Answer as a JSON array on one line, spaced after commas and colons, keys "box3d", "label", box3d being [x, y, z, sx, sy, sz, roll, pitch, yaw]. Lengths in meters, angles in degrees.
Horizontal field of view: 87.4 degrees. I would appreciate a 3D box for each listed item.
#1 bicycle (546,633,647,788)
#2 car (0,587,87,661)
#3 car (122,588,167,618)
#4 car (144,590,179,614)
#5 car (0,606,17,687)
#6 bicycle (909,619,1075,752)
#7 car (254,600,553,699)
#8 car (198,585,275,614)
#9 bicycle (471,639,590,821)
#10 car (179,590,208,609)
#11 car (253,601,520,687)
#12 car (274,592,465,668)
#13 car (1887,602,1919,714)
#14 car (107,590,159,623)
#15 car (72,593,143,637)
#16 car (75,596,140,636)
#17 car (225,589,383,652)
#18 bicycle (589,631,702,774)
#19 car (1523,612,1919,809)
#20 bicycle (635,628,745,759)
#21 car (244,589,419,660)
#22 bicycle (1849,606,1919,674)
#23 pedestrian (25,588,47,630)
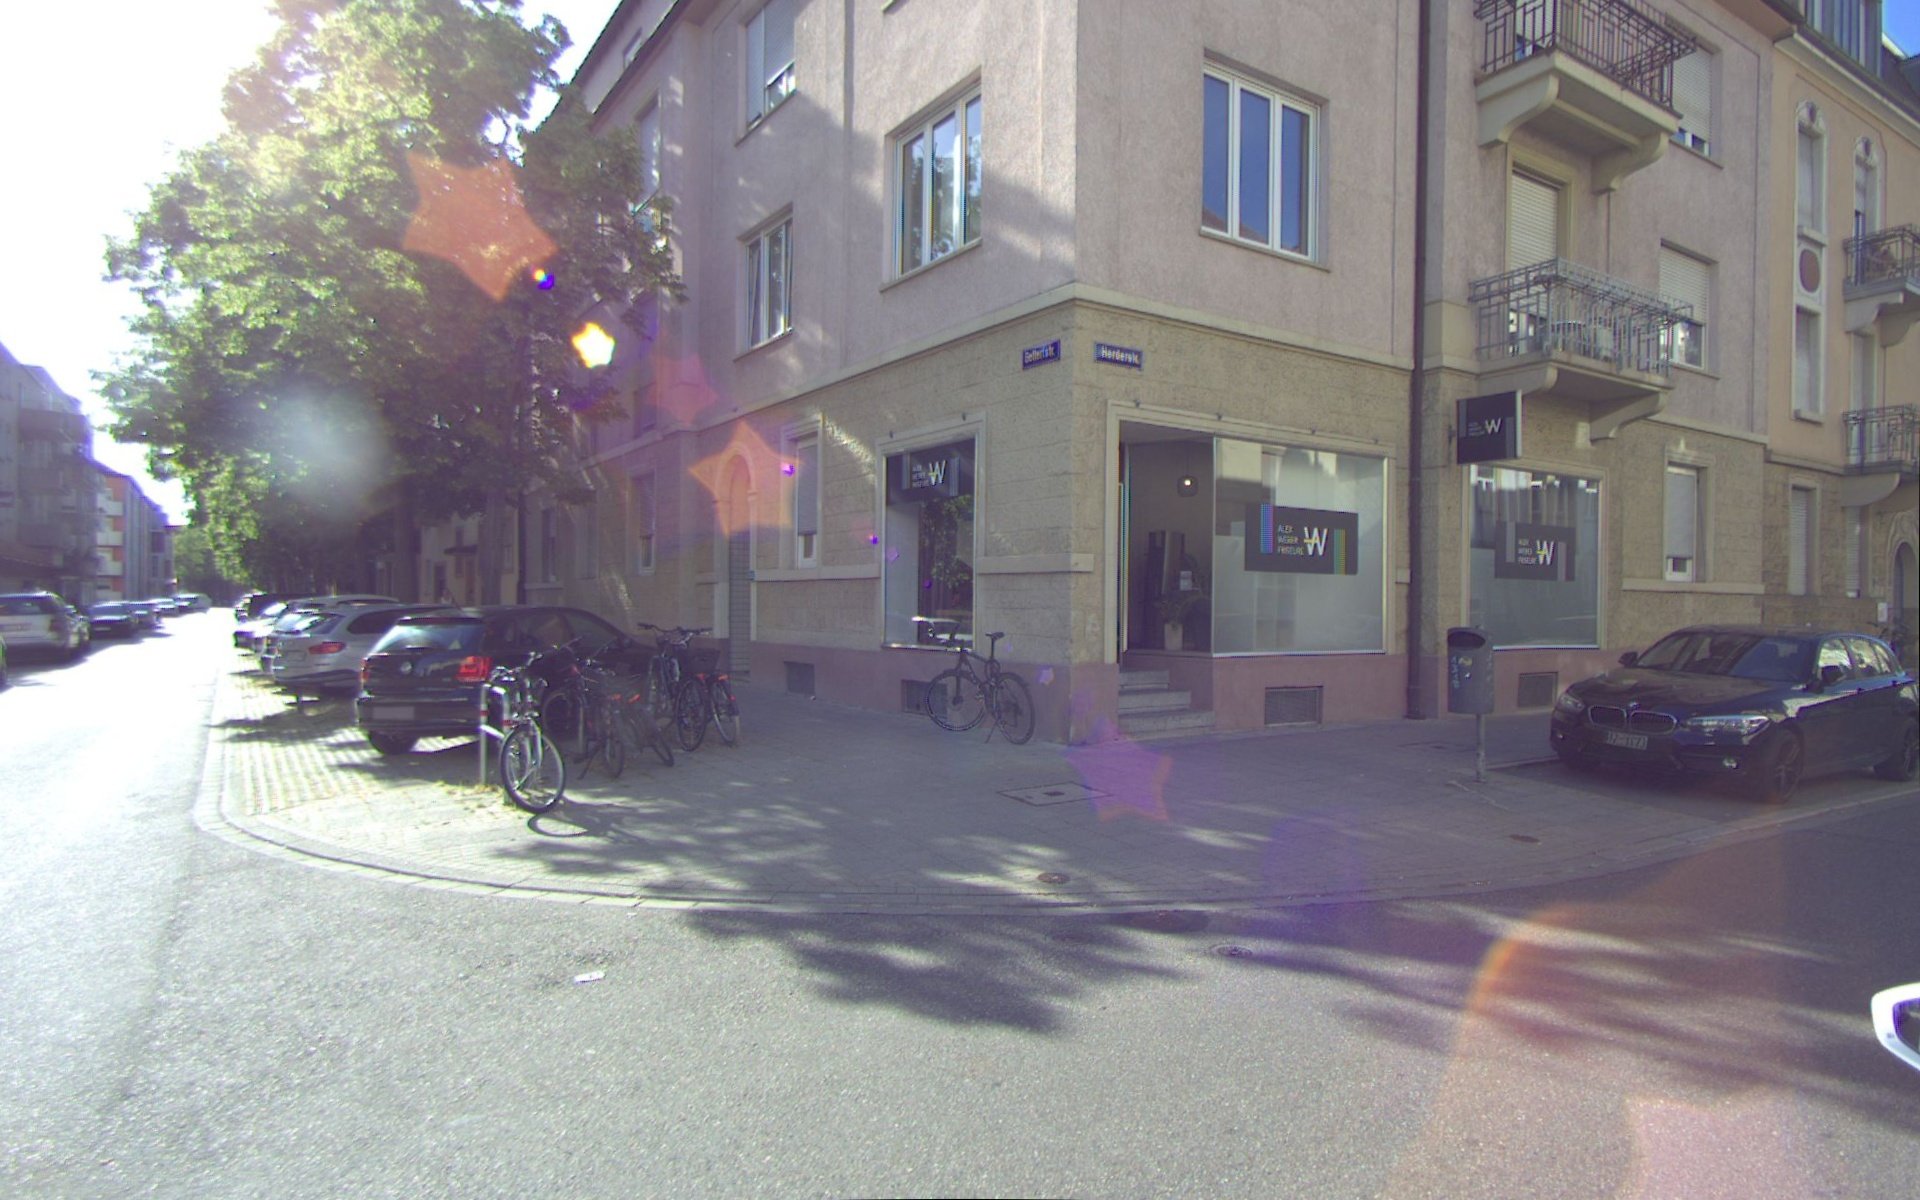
[{"box3d": [-3.266, 0.911, 8.940, 0.520, 1.151, 1.889, -2, 1, -29], "label": "bicycle"}, {"box3d": [-24.533, 0.581, 26.425, 2.090, 1.790, 4.462, -1, 1, -38], "label": "car"}, {"box3d": [-52.235, 0.172, 64.376, 2.090, 1.790, 4.462, -1, 1, -38], "label": "car"}, {"box3d": [-63.242, 0.142, 79.583, 2.090, 1.790, 4.462, -1, 1, -38], "label": "car"}, {"box3d": [-17.987, 0.846, 17.603, 1.711, 1.423, 4.166, -1, 1, -38], "label": "car"}, {"box3d": [0.284, 0.814, 10.269, 0.642, 1.151, 1.884, -2, 2, -38], "label": "bicycle"}, {"box3d": [-9.243, 0.736, 17.061, 1.674, 1.458, 4.206, 0, 0, 30], "label": "car"}, {"box3d": [-44.620, -0.058, 61.991, 1.680, 1.690, 3.589, 1, 2, 42], "label": "car"}, {"box3d": [-3.420, 0.935, 7.905, 0.640, 1.151, 1.889, -2, 2, -29], "label": "bicycle"}, {"box3d": [-71.025, -0.053, 93.091, 2.090, 1.790, 4.462, -1, 1, -38], "label": "car"}, {"box3d": [-10.819, 0.746, 19.274, 1.674, 1.445, 4.206, 0, 0, 30], "label": "car"}, {"box3d": [-14.069, 0.647, 24.060, 1.680, 1.630, 3.589, 1, 2, 42], "label": "car"}, {"box3d": [16.052, 0.898, 15.097, 4.438, 1.603, 1.992, 1, 2, -32], "label": "car"}, {"box3d": [-46.301, 0.345, 56.313, 2.090, 1.790, 4.462, -1, 1, -38], "label": "car"}, {"box3d": [-36.458, 0.591, 43.067, 2.090, 1.790, 4.462, -1, 1, -38], "label": "car"}, {"box3d": [-40.220, 0.714, 47.481, 2.090, 1.790, 4.462, -1, 1, -38], "label": "car"}, {"box3d": [-19.367, 0.553, 29.757, 1.680, 1.690, 3.589, 1, 2, 42], "label": "car"}, {"box3d": [-3.029, 0.907, 9.551, 0.520, 1.151, 1.887, -2, 1, -33], "label": "bicycle"}, {"box3d": [7.440, 0.900, 9.557, 4.223, 1.446, 1.671, 1, 2, -30], "label": "car"}, {"box3d": [-2.815, 0.901, 10.347, 0.520, 1.151, 1.887, -2, 1, -33], "label": "bicycle"}, {"box3d": [-16.538, 0.589, 26.545, 1.680, 1.690, 3.589, 1, 2, 42], "label": "car"}, {"box3d": [18.941, 0.794, 20.567, 1.845, 1.319, 0.538, 0, 1, -31], "label": "bicycle"}, {"box3d": [-42.158, 0.413, 45.829, 0.655, 1.929, 0.521, 0, 1, -36], "label": "pedestrian"}]
